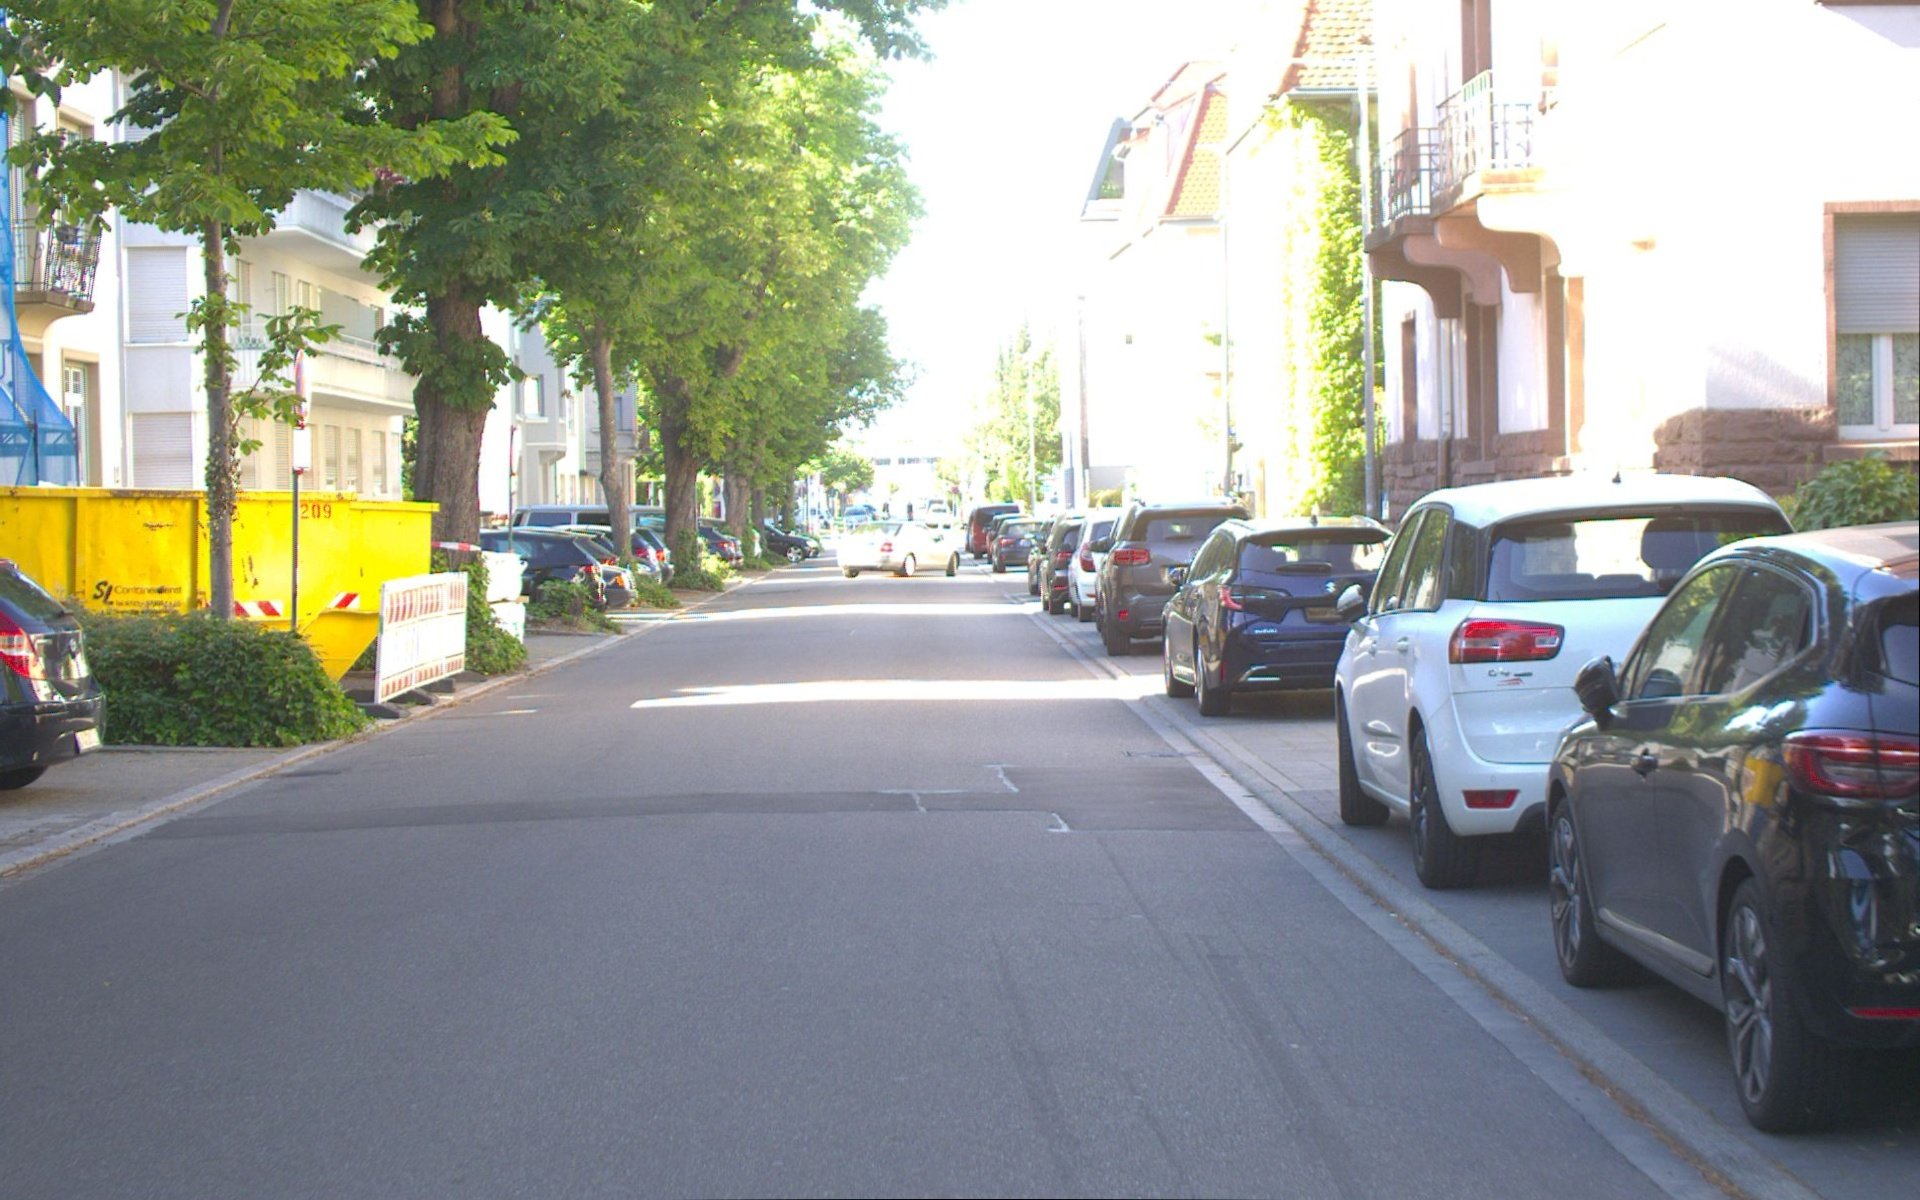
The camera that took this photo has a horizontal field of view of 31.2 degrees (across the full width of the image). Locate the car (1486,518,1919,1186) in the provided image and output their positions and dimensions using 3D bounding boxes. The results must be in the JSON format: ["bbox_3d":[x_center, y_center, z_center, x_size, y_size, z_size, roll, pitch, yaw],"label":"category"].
[{"bbox_3d":[2.645,0.503,9.558,1.636,1.417,4.009,-2,2,-1],"label":"car"}]

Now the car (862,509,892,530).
[{"bbox_3d":[-6.114,-5.922,253.442,1.786,1.527,4.001,-1,2,-7],"label":"car"}]

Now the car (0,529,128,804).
[{"bbox_3d":[-6.855,0.409,19.629,3.726,1.459,1.715,-2,2,1],"label":"car"}]

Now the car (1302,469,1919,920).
[{"bbox_3d":[2.672,0.301,15.024,1.867,1.639,4.199,-2,1,0],"label":"car"}]

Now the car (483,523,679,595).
[{"bbox_3d":[-7.843,-0.852,71.361,3.921,1.410,1.716,1,2,-3],"label":"car"}]

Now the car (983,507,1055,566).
[{"bbox_3d":[1.549,-1.710,91.842,1.619,1.435,3.935,-3,2,-2],"label":"car"}]

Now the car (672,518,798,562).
[{"bbox_3d":[-7.745,-2.078,118.795,4.189,1.443,1.712,1,0,1],"label":"car"}]

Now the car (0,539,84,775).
[{"bbox_3d":[-7.644,0.400,22.061,3.549,1.443,1.695,-2,1,0],"label":"car"}]

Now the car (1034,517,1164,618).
[{"bbox_3d":[2.134,-0.501,53.792,1.709,1.431,4.193,-3,1,-1],"label":"car"}]

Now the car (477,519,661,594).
[{"bbox_3d":[-7.817,-0.879,68.930,3.478,1.453,1.798,1,1,1],"label":"car"}]

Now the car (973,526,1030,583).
[{"bbox_3d":[1.453,-1.614,121.085,1.871,1.898,5.197,-2,1,0],"label":"car"}]

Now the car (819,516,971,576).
[{"bbox_3d":[-1.617,-1.353,86.599,1.730,1.415,3.951,1,1,37],"label":"car"}]

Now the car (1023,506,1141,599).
[{"bbox_3d":[2.107,-0.822,60.559,1.791,1.515,4.367,-2,1,-1],"label":"car"}]

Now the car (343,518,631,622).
[{"bbox_3d":[-7.786,-0.508,56.497,4.588,1.601,1.834,-1,1,-9],"label":"car"}]

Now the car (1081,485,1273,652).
[{"bbox_3d":[2.310,-0.344,37.565,1.778,1.690,4.320,1,0,0],"label":"car"}]

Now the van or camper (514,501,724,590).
[{"bbox_3d":[-7.596,-1.224,76.878,4.497,1.908,1.964,-1,1,-1],"label":"van or camper"}]

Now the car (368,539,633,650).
[{"bbox_3d":[-6.993,-0.104,52.252,3.869,1.509,1.834,-2,1,-9],"label":"car"}]

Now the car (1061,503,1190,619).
[{"bbox_3d":[2.348,-0.554,49.475,1.575,1.544,3.469,-2,0,-1],"label":"car"}]

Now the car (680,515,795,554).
[{"bbox_3d":[-8.690,-2.554,134.511,4.473,1.474,1.869,0,0,-2],"label":"car"}]

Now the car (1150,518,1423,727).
[{"bbox_3d":[2.435,0.105,26.537,1.643,1.449,4.503,-1,1,0],"label":"car"}]

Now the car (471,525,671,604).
[{"bbox_3d":[-7.511,-0.697,66.553,3.644,1.458,1.710,1,1,1],"label":"car"}]
